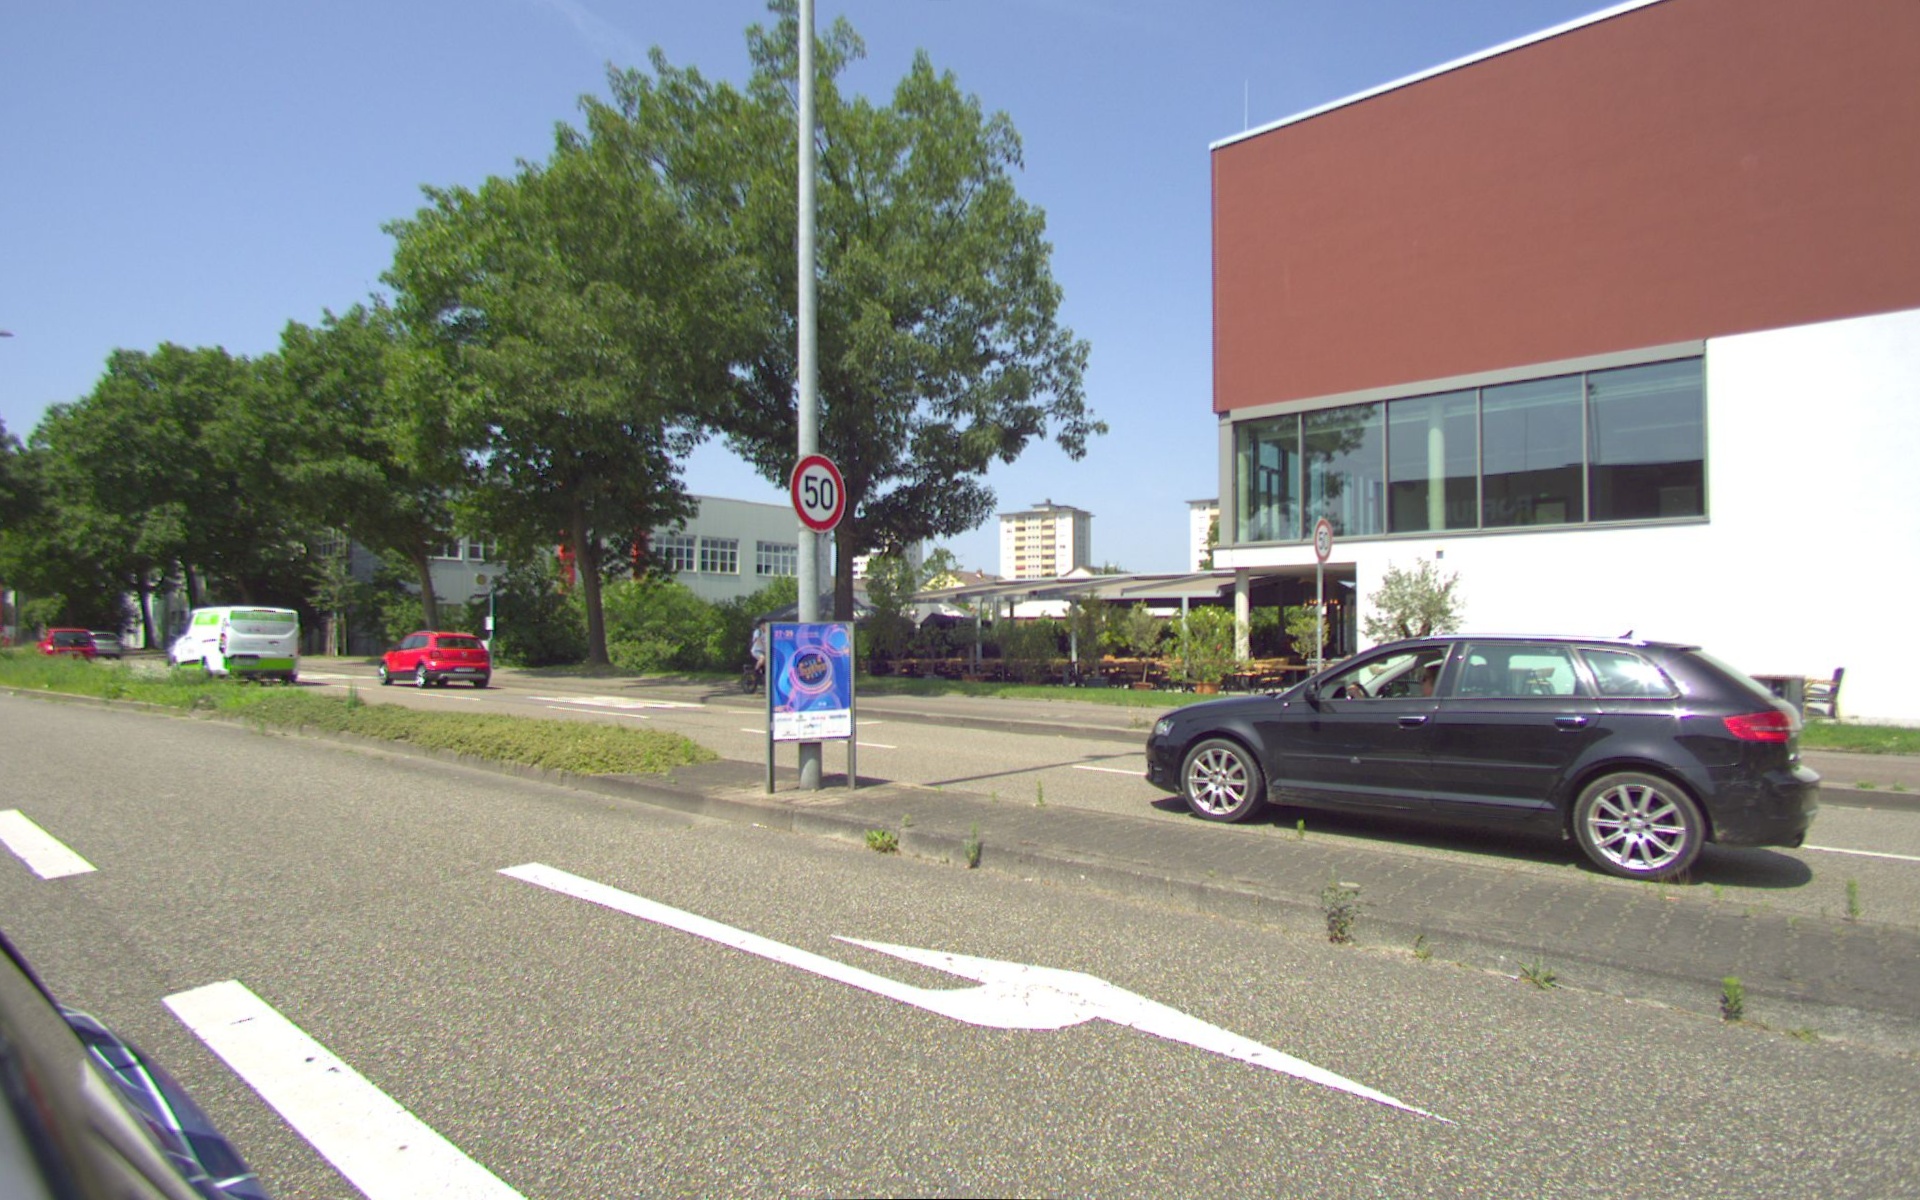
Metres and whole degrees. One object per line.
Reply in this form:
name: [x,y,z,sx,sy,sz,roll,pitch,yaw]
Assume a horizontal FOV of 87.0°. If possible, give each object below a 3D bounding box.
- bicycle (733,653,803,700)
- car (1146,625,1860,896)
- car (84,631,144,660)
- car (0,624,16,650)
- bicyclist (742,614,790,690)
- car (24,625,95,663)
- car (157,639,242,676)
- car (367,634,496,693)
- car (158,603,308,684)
bicycle: [-4.240,1.666,22.278,1.659,0.976,0.611,-2,-3,41]
car: [3.468,0.901,6.997,3.996,1.349,1.662,-2,-5,39]
car: [-45.546,2.426,54.474,4.130,1.462,1.731,-2,-5,41]
car: [-59.859,2.286,62.525,4.150,1.582,1.731,-2,-5,41]
bicyclist: [-4.282,1.140,22.342,0.923,1.643,0.601,-2,-3,41]
car: [-36.935,1.801,41.495,3.605,1.452,1.564,-2,-4,39]
car: [-31.106,2.326,41.346,4.355,1.415,1.759,-2,-5,40]
car: [-14.136,1.667,26.992,3.889,1.464,1.688,-2,-5,41]
car: [-19.205,1.156,26.644,4.904,1.960,1.973,-2,-4,40]
